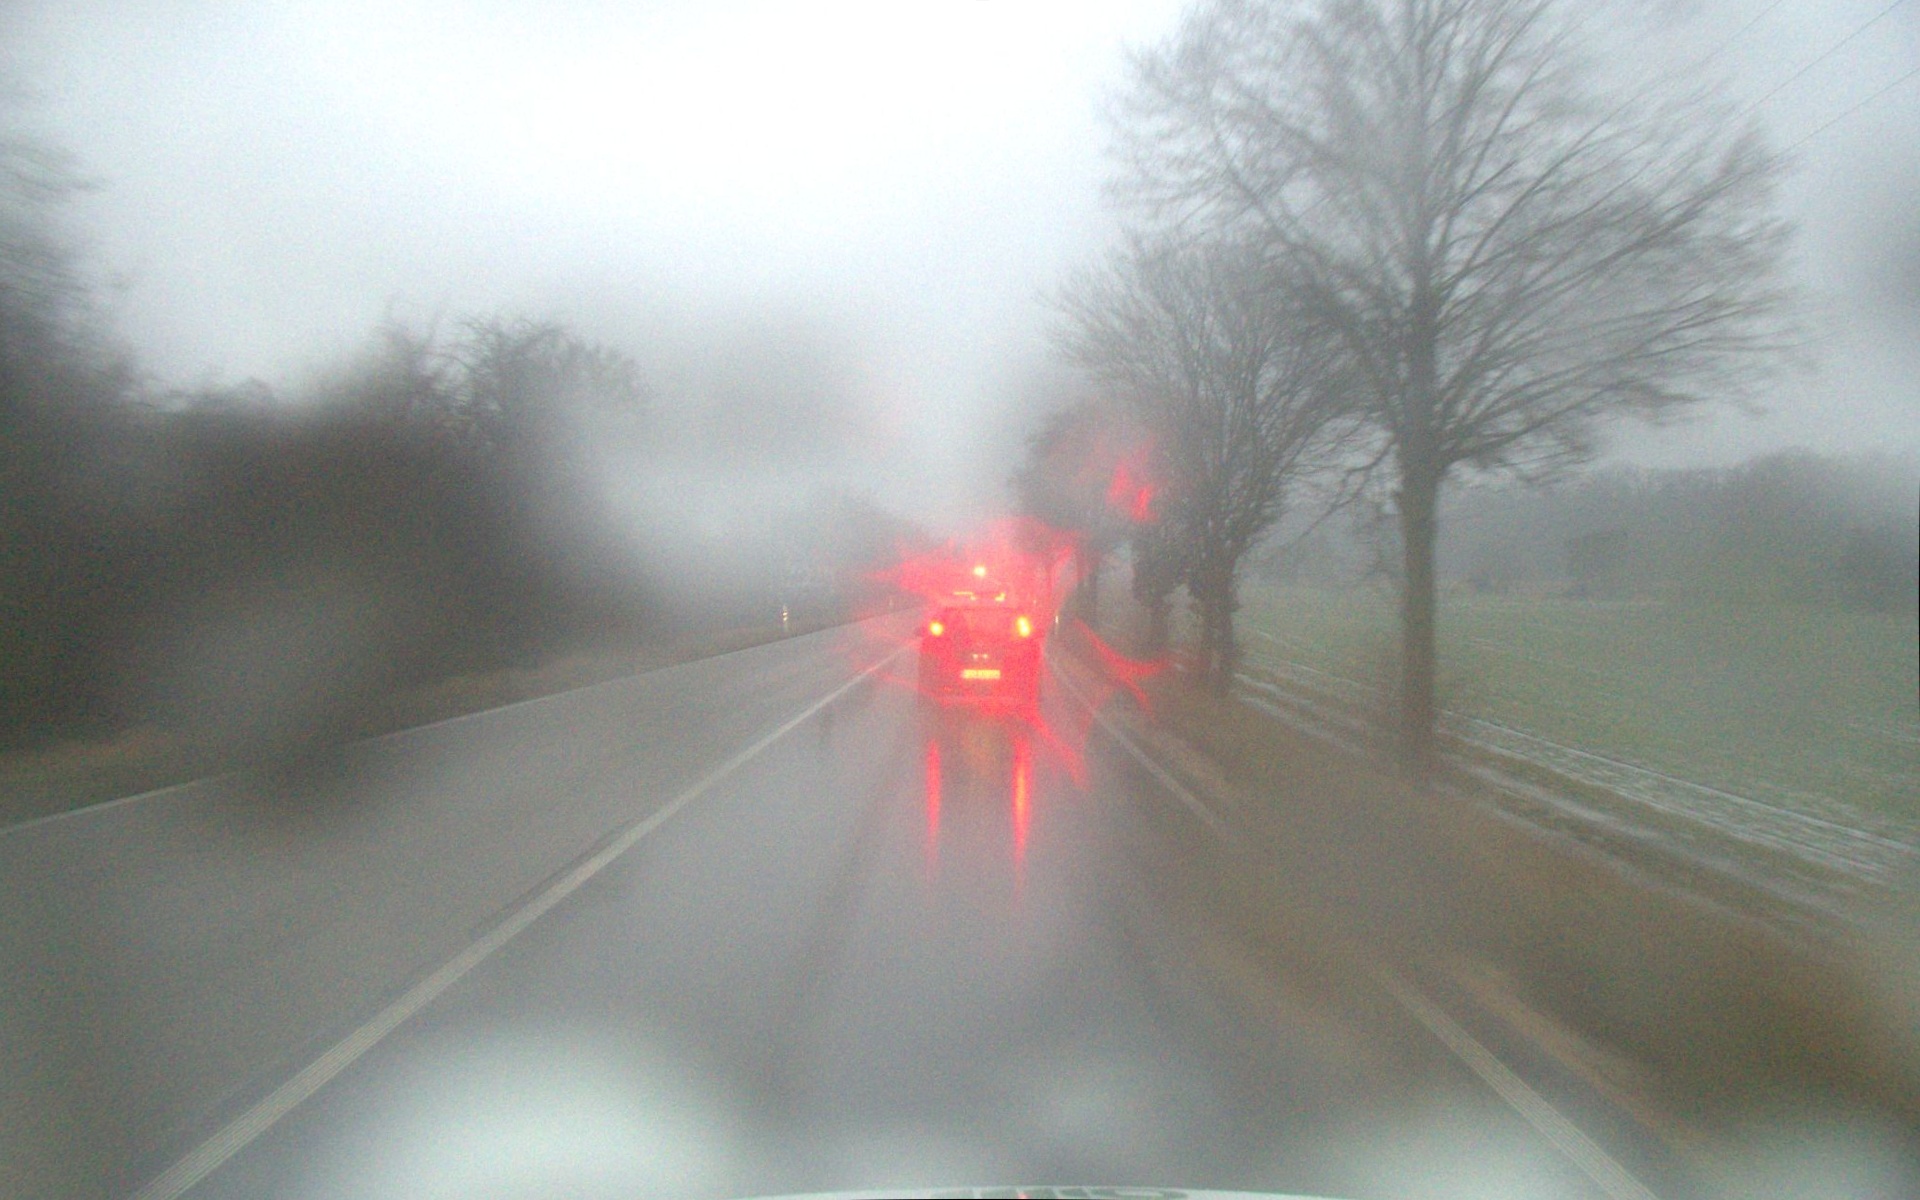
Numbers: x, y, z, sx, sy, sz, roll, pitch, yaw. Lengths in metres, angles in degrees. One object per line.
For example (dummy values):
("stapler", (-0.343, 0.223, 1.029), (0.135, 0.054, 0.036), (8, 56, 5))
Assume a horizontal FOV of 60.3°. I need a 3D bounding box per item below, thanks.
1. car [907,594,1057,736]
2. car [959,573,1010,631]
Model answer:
("car", (0.348, 0.837, 23.435), (1.952, 1.782, 4.001), (0, 1, 2))
("car", (1.145, 0.055, 75.851), (1.953, 2.046, 4.005), (6, 6, 3))
